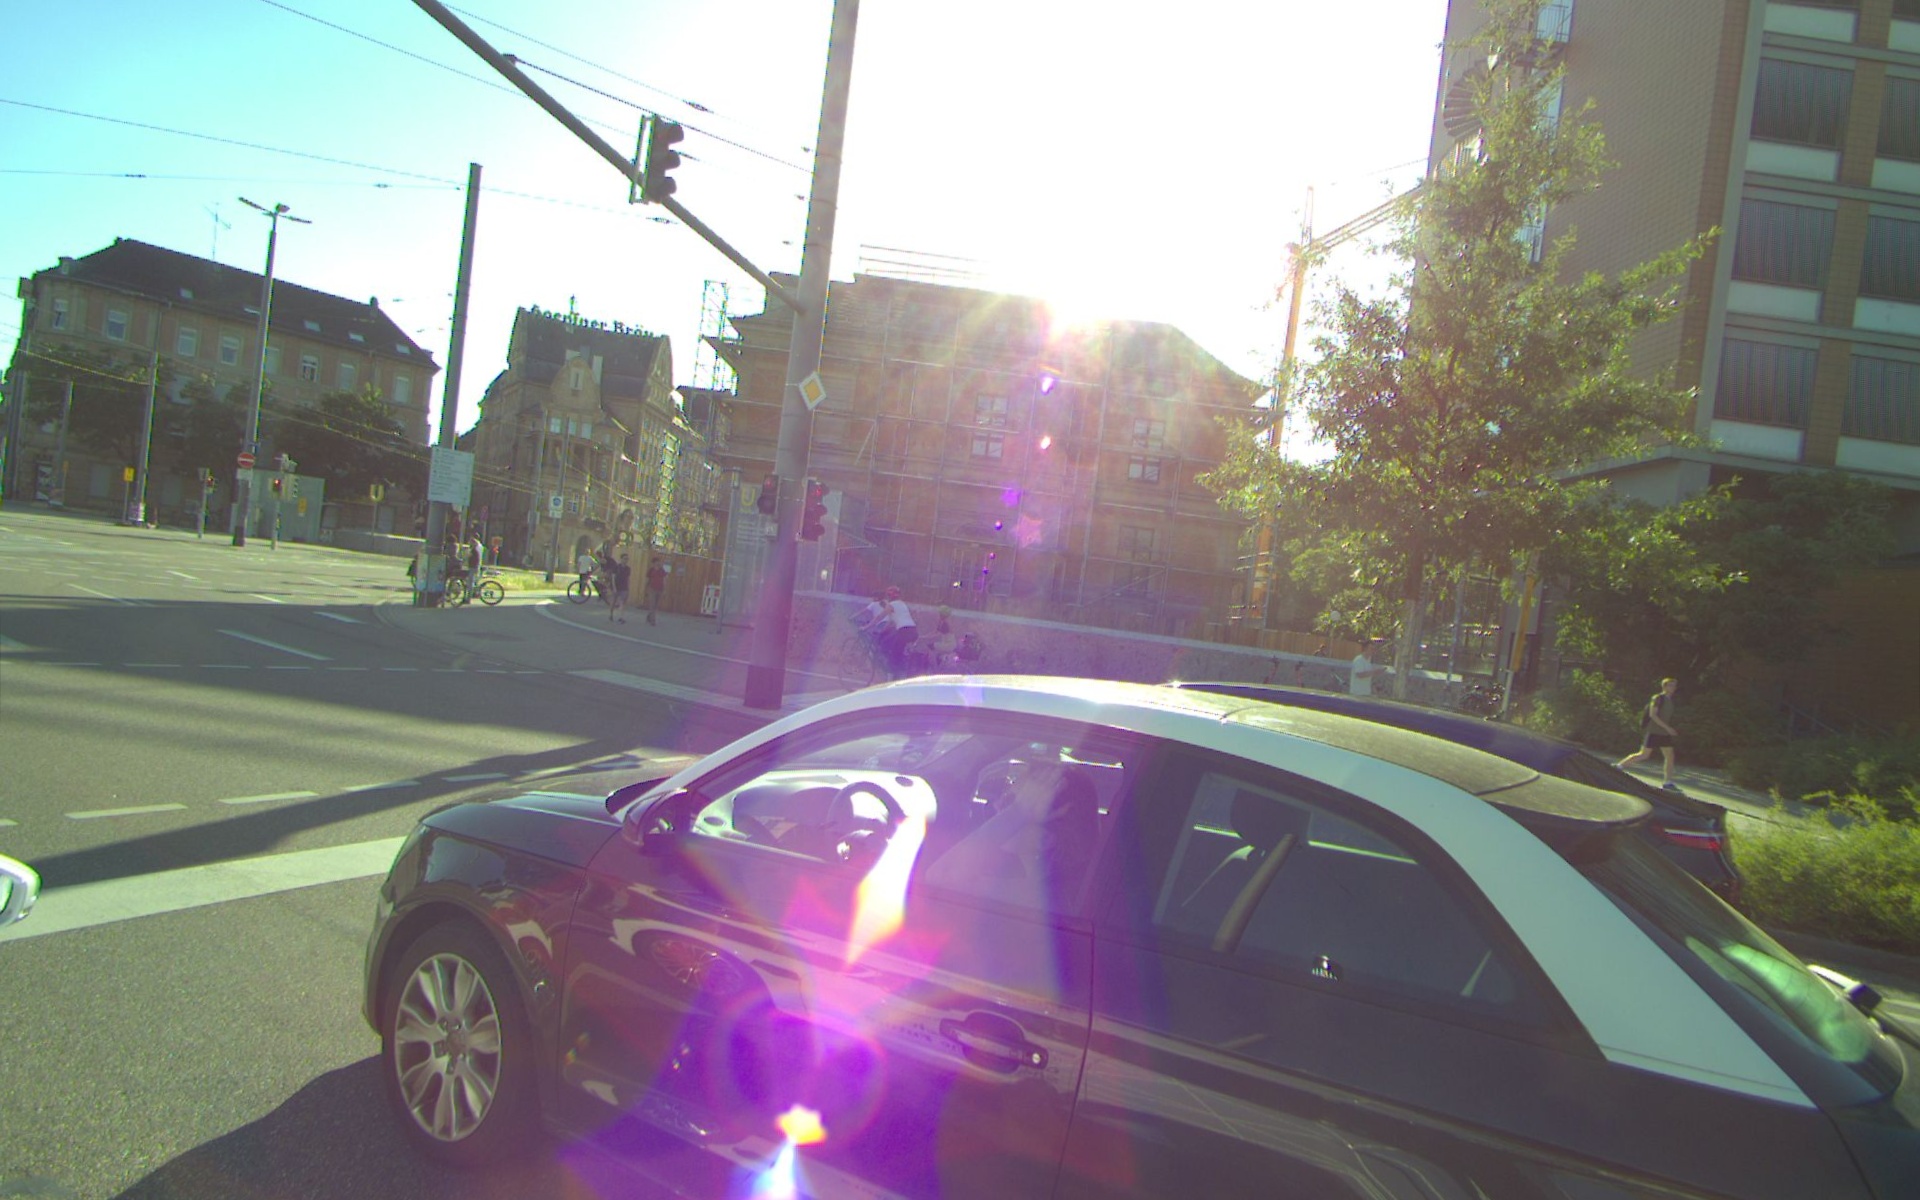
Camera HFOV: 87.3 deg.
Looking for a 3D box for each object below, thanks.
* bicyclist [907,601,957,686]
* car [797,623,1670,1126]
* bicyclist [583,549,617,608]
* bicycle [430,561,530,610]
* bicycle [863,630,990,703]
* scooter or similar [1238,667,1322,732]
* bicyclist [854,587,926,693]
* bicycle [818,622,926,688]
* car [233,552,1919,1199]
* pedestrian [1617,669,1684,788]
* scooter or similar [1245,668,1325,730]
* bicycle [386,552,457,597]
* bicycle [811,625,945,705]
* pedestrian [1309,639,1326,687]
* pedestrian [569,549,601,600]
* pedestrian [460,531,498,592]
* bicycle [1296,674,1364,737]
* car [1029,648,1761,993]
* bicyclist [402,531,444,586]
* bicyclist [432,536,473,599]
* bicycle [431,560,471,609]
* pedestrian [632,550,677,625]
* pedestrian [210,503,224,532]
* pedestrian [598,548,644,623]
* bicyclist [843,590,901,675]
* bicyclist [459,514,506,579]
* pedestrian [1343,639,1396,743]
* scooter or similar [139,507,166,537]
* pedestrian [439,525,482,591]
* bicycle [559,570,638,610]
[{"bbox_3d":[-0.470,0.723,16.843,0.661,1.330,0.617,7,-1,-3],"label":"bicyclist"},{"bbox_3d":[1.237,1.095,5.369,3.934,1.420,1.627,6,-2,32],"label":"car"},{"bbox_3d":[-11.523,-0.682,32.218,0.785,1.800,0.520,8,-1,-23],"label":"bicyclist"},{"bbox_3d":[-12.770,-0.375,26.785,2.293,1.062,0.696,6,-1,-28],"label":"bicycle"},{"bbox_3d":[-0.554,1.104,16.844,1.997,0.976,0.660,6,2,-1],"label":"bicycle"},{"bbox_3d":[5.946,1.849,18.724,1.348,1.007,0.342,7,-1,25],"label":"scooter or similar"},{"bbox_3d":[-1.111,0.636,16.075,0.780,1.573,0.667,7,2,22],"label":"bicyclist"},{"bbox_3d":[-1.646,1.004,18.626,2.004,0.976,0.657,6,2,36],"label":"bicycle"},{"bbox_3d":[-0.023,0.822,2.690,3.934,1.420,1.627,6,-2,32],"label":"car"},{"bbox_3d":[11.742,2.176,17.105,0.461,1.908,0.687,8,-1,-41],"label":"pedestrian"},{"bbox_3d":[6.324,1.920,19.608,1.346,1.007,0.343,7,-1,13],"label":"scooter or similar"},{"bbox_3d":[-16.720,-0.788,31.198,2.278,1.061,0.536,8,-1,24],"label":"bicycle"},{"bbox_3d":[-1.325,1.018,16.146,1.998,0.976,0.659,7,3,24],"label":"bicycle"},{"bbox_3d":[13.309,2.346,37.424,0.369,1.752,0.444,7,-1,17],"label":"pedestrian"},{"bbox_3d":[-14.292,-0.972,38.299,0.678,1.835,0.649,7,-1,25],"label":"pedestrian"},{"bbox_3d":[-16.279,-1.303,34.058,0.678,1.945,0.649,7,-1,25],"label":"pedestrian"},{"bbox_3d":[6.914,1.955,18.823,0.352,1.015,1.149,8,-2,-29],"label":"bicycle"},{"bbox_3d":[2.943,1.373,7.523,4.436,1.420,1.727,6,-2,31],"label":"car"},{"bbox_3d":[-16.665,-1.285,31.204,0.930,1.575,0.516,7,-1,24],"label":"bicyclist"},{"bbox_3d":[-12.662,-0.809,25.084,0.702,1.456,0.940,8,-1,-29],"label":"bicyclist"},{"bbox_3d":[-12.698,-0.408,25.081,0.693,1.061,2.303,9,-1,-29],"label":"bicycle"},{"bbox_3d":[-7.960,-0.312,26.244,0.672,1.828,0.672,7,-1,11],"label":"pedestrian"},{"bbox_3d":[-54.647,-6.071,73.960,0.600,2.039,0.638,6,1,-43],"label":"pedestrian"},{"bbox_3d":[-8.600,-0.357,25.543,0.672,1.830,0.672,7,2,11],"label":"pedestrian"},{"bbox_3d":[-1.633,0.600,18.667,0.663,1.471,0.616,6,-1,37],"label":"bicyclist"},{"bbox_3d":[-12.707,-1.413,26.759,0.936,1.575,0.705,8,-1,-28],"label":"bicyclist"},{"bbox_3d":[6.897,1.515,16.944,0.592,1.662,0.677,7,3,29],"label":"pedestrian"},{"bbox_3d":[-42.141,-4.072,52.486,0.784,1.392,1.885,8,-2,-44],"label":"scooter or similar"},{"bbox_3d":[-16.573,-1.379,33.392,0.748,2.037,0.733,7,-1,25],"label":"pedestrian"},{"bbox_3d":[-11.572,-0.314,32.206,2.289,1.063,0.532,5,2,-25],"label":"bicycle"}]
